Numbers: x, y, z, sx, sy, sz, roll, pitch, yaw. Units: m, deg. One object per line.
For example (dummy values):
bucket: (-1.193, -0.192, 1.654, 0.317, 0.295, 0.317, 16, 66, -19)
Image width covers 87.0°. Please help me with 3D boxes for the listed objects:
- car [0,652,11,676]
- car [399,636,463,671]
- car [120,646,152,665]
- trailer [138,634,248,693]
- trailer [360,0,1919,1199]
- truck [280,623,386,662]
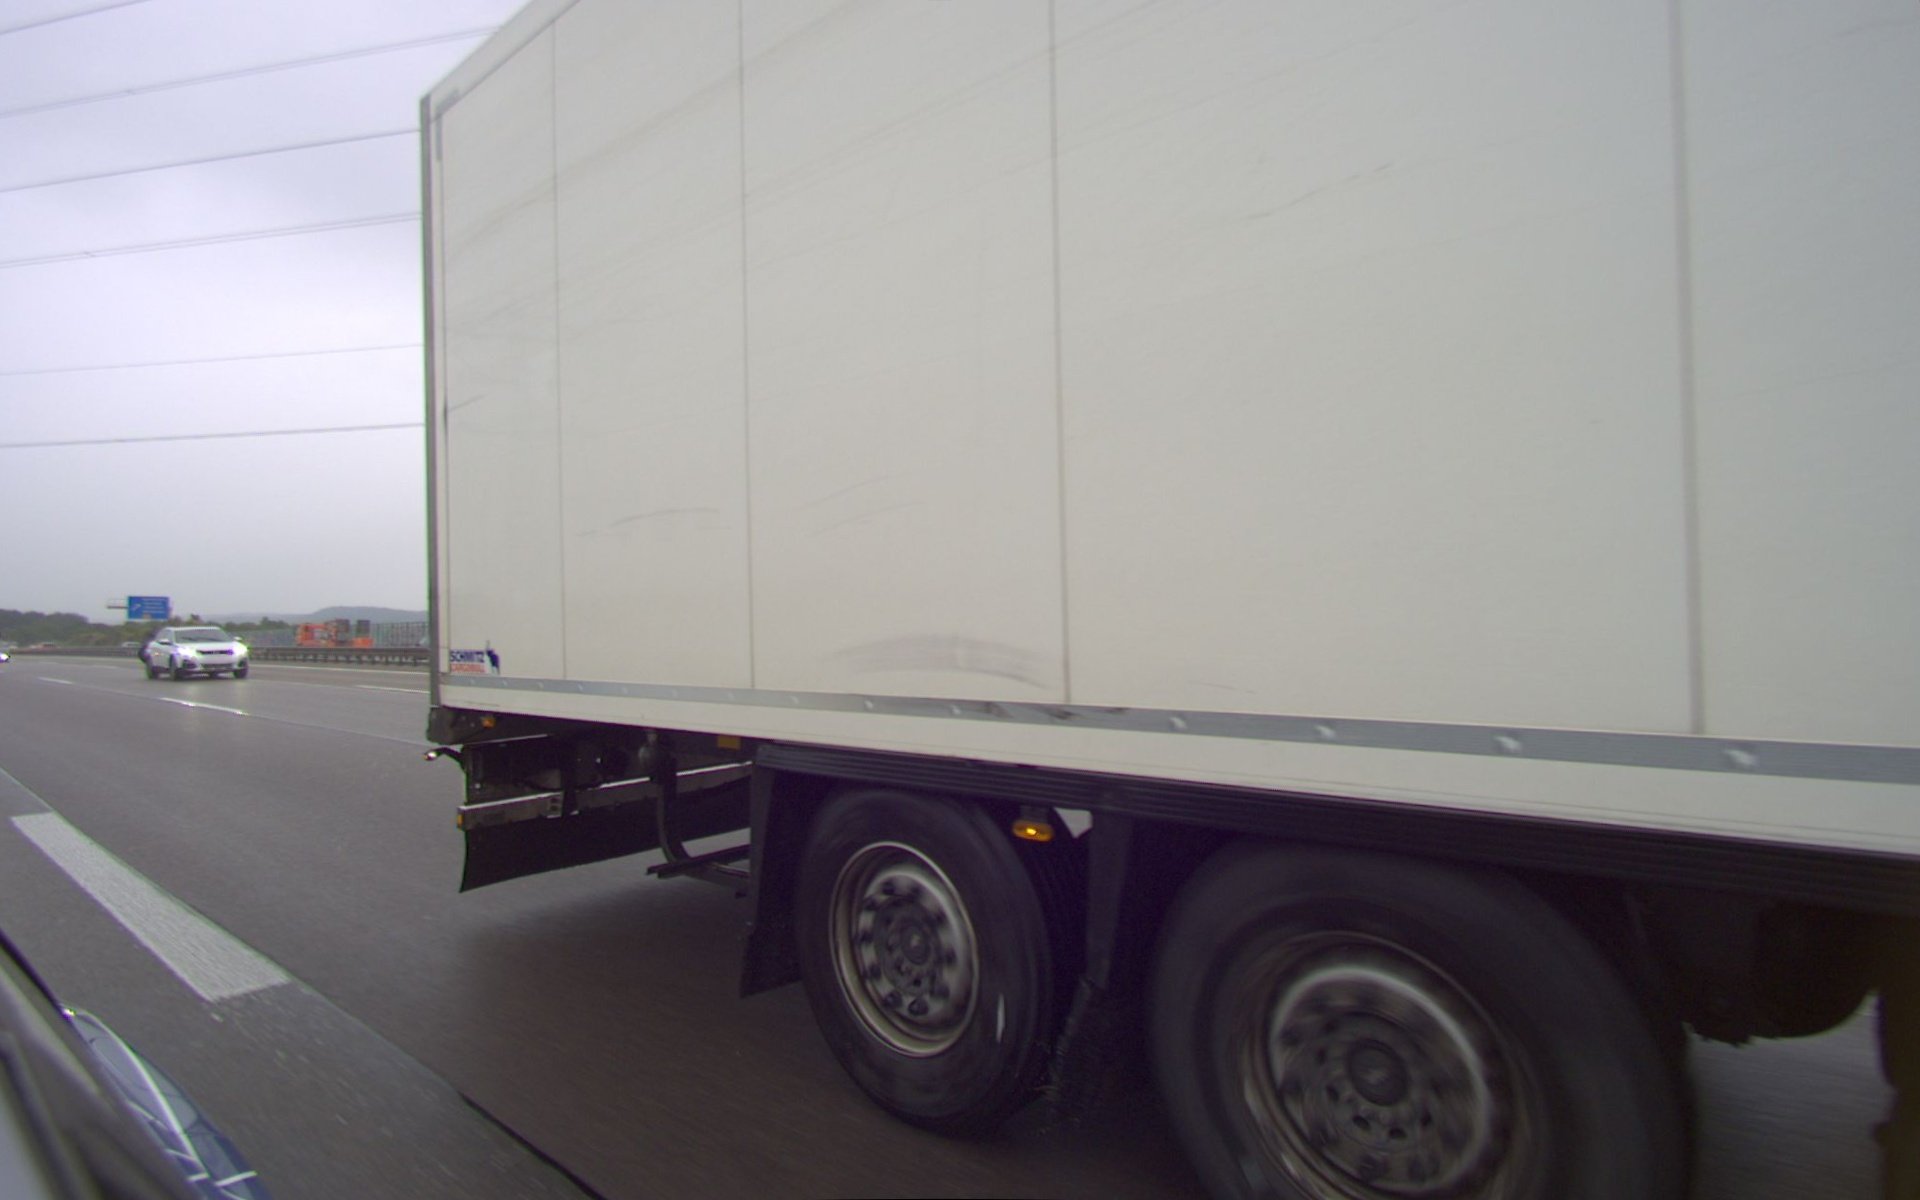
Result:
car: (-58.900, 3.876, 61.295, 4.828, 1.413, 1.707, -3, -2, 43)
car: (-28.008, 2.806, 53.500, 3.783, 1.596, 1.609, -3, 3, 41)
car: (-84.435, 5.677, 103.678, 3.998, 1.785, 1.879, -1, 0, 41)
trailer: (-23.471, 1.940, 30.908, 4.565, 1.637, 1.796, -4, -3, 41)
trailer: (3.298, -0.692, 1.117, 14.819, 4.189, 2.318, -2, -1, 41)
truck: (-53.244, 3.463, 85.658, 14.314, 2.856, 3.572, -1, 0, 41)
